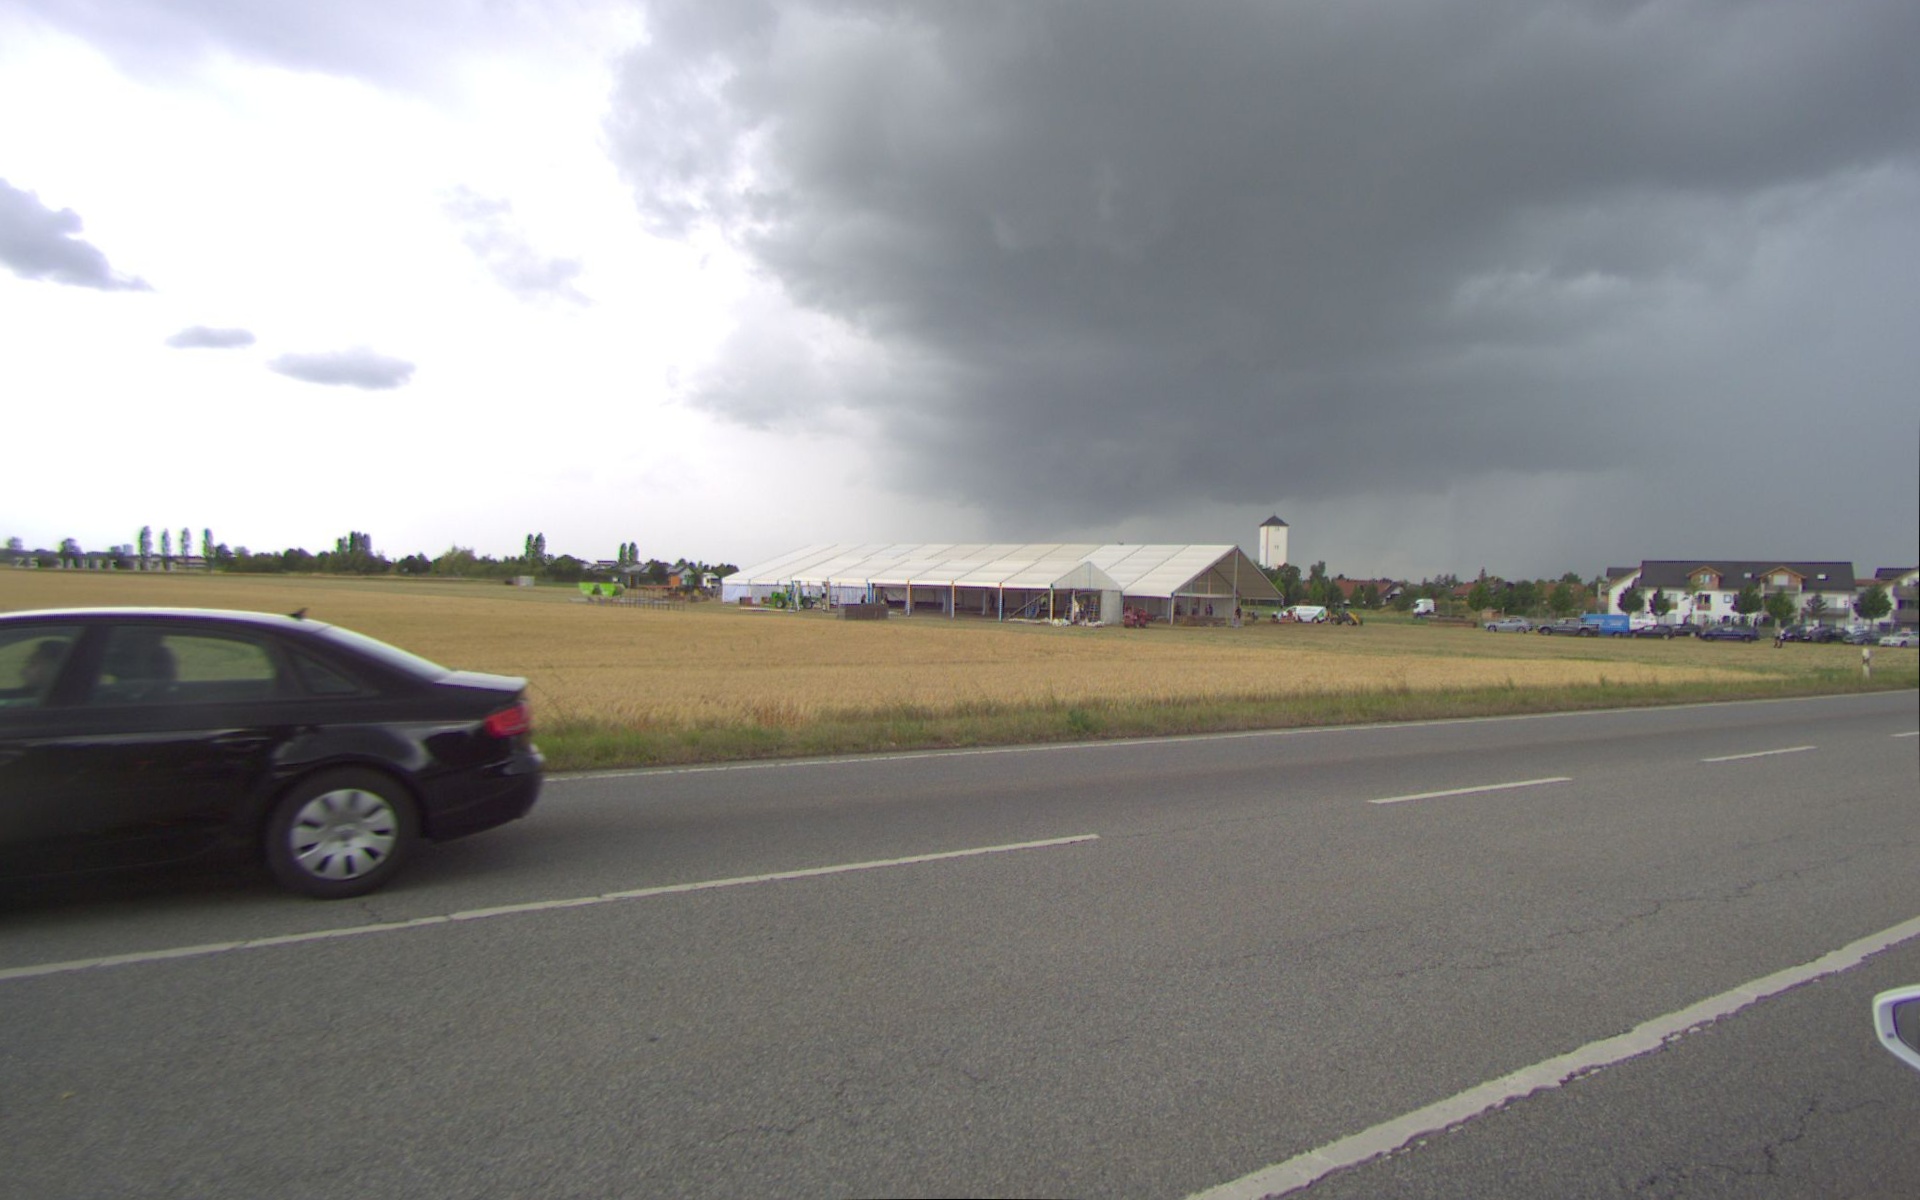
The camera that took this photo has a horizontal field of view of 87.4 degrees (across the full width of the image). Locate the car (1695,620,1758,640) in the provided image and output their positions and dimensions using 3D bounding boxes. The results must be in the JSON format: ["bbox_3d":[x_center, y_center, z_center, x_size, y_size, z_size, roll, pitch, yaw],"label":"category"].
[{"bbox_3d":[73.230,2.843,96.027,4.657,1.719,1.992,2,0,38],"label":"car"}]

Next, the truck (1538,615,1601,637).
[{"bbox_3d":[59.324,2.477,97.841,5.152,1.946,2.107,2,0,32],"label":"truck"}]

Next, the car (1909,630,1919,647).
[{"bbox_3d":[85.804,3.384,87.943,4.140,1.465,1.994,1,0,-14],"label":"car"}]

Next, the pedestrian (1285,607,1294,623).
[{"bbox_3d":[36.167,1.656,110.241,0.680,1.799,0.691,2,0,42],"label":"pedestrian"}]

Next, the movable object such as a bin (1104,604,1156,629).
[{"bbox_3d":[13.834,1.361,81.614,2.554,1.889,4.460,2,0,35],"label":"movable object such as a bin"}]

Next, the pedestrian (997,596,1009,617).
[{"bbox_3d":[4.595,0.693,106.649,0.930,2.130,0.860,1,0,-31],"label":"pedestrian"}]

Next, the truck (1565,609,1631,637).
[{"bbox_3d":[63.212,2.258,99.574,5.375,2.478,2.386,2,0,35],"label":"truck"}]

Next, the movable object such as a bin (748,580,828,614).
[{"bbox_3d":[-17.954,-0.360,104.717,7.462,3.219,4.142,3,1,38],"label":"movable object such as a bin"}]

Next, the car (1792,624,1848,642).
[{"bbox_3d":[82.294,3.142,96.122,4.140,1.650,1.994,1,0,-14],"label":"car"}]

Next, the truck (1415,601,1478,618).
[{"bbox_3d":[79.090,1.470,163.608,3.254,2.563,9.320,2,0,-24],"label":"truck"}]

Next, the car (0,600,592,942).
[{"bbox_3d":[-4.323,0.723,5.068,4.374,1.429,1.817,2,-1,-31],"label":"car"}]

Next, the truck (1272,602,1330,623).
[{"bbox_3d":[39.609,1.471,116.791,5.957,2.246,2.715,2,0,31],"label":"truck"}]

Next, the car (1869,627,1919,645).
[{"bbox_3d":[84.639,3.273,90.621,4.140,1.465,1.994,1,0,-14],"label":"car"}]

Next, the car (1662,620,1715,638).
[{"bbox_3d":[79.018,3.138,109.002,4.568,1.719,1.992,2,0,38],"label":"car"}]

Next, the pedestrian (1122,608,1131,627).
[{"bbox_3d":[14.061,1.469,84.629,0.580,1.649,0.464,1,0,-45],"label":"pedestrian"}]

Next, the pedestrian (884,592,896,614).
[{"bbox_3d":[-6.538,0.320,94.202,1.005,2.040,0.806,2,0,-1],"label":"pedestrian"}]

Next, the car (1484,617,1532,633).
[{"bbox_3d":[56.940,2.596,104.349,4.234,1.481,1.887,2,0,32],"label":"car"}]

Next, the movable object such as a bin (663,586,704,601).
[{"bbox_3d":[-40.958,-0.958,148.947,2.527,2.040,5.390,2,0,39],"label":"movable object such as a bin"}]

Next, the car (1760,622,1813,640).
[{"bbox_3d":[82.117,3.115,99.845,4.140,1.650,1.994,1,0,-14],"label":"car"}]

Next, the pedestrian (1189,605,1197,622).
[{"bbox_3d":[24.431,1.441,105.394,0.717,1.803,0.760,2,0,5],"label":"pedestrian"}]

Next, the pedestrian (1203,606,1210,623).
[{"bbox_3d":[25.647,1.535,104.540,0.642,1.767,0.728,2,0,10],"label":"pedestrian"}]

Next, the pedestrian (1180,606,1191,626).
[{"bbox_3d":[23.133,1.669,103.026,0.866,2.040,0.763,2,0,44],"label":"pedestrian"}]

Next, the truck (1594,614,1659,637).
[{"bbox_3d":[69.078,2.637,104.110,5.491,2.226,2.598,2,0,35],"label":"truck"}]

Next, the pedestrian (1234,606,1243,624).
[{"bbox_3d":[29.064,1.558,104.661,0.679,1.799,0.692,2,0,35],"label":"pedestrian"}]

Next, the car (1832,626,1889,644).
[{"bbox_3d":[83.551,3.249,93.191,4.140,1.556,1.994,1,0,-14],"label":"car"}]

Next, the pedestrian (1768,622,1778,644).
[{"bbox_3d":[67.037,2.700,82.815,0.673,1.809,0.543,1,0,-44],"label":"pedestrian"}]

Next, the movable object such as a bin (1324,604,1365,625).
[{"bbox_3d":[42.359,1.598,110.774,3.926,2.273,1.882,2,0,30],"label":"movable object such as a bin"}]

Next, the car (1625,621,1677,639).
[{"bbox_3d":[68.511,2.957,99.557,4.103,1.539,1.992,2,0,38],"label":"car"}]
